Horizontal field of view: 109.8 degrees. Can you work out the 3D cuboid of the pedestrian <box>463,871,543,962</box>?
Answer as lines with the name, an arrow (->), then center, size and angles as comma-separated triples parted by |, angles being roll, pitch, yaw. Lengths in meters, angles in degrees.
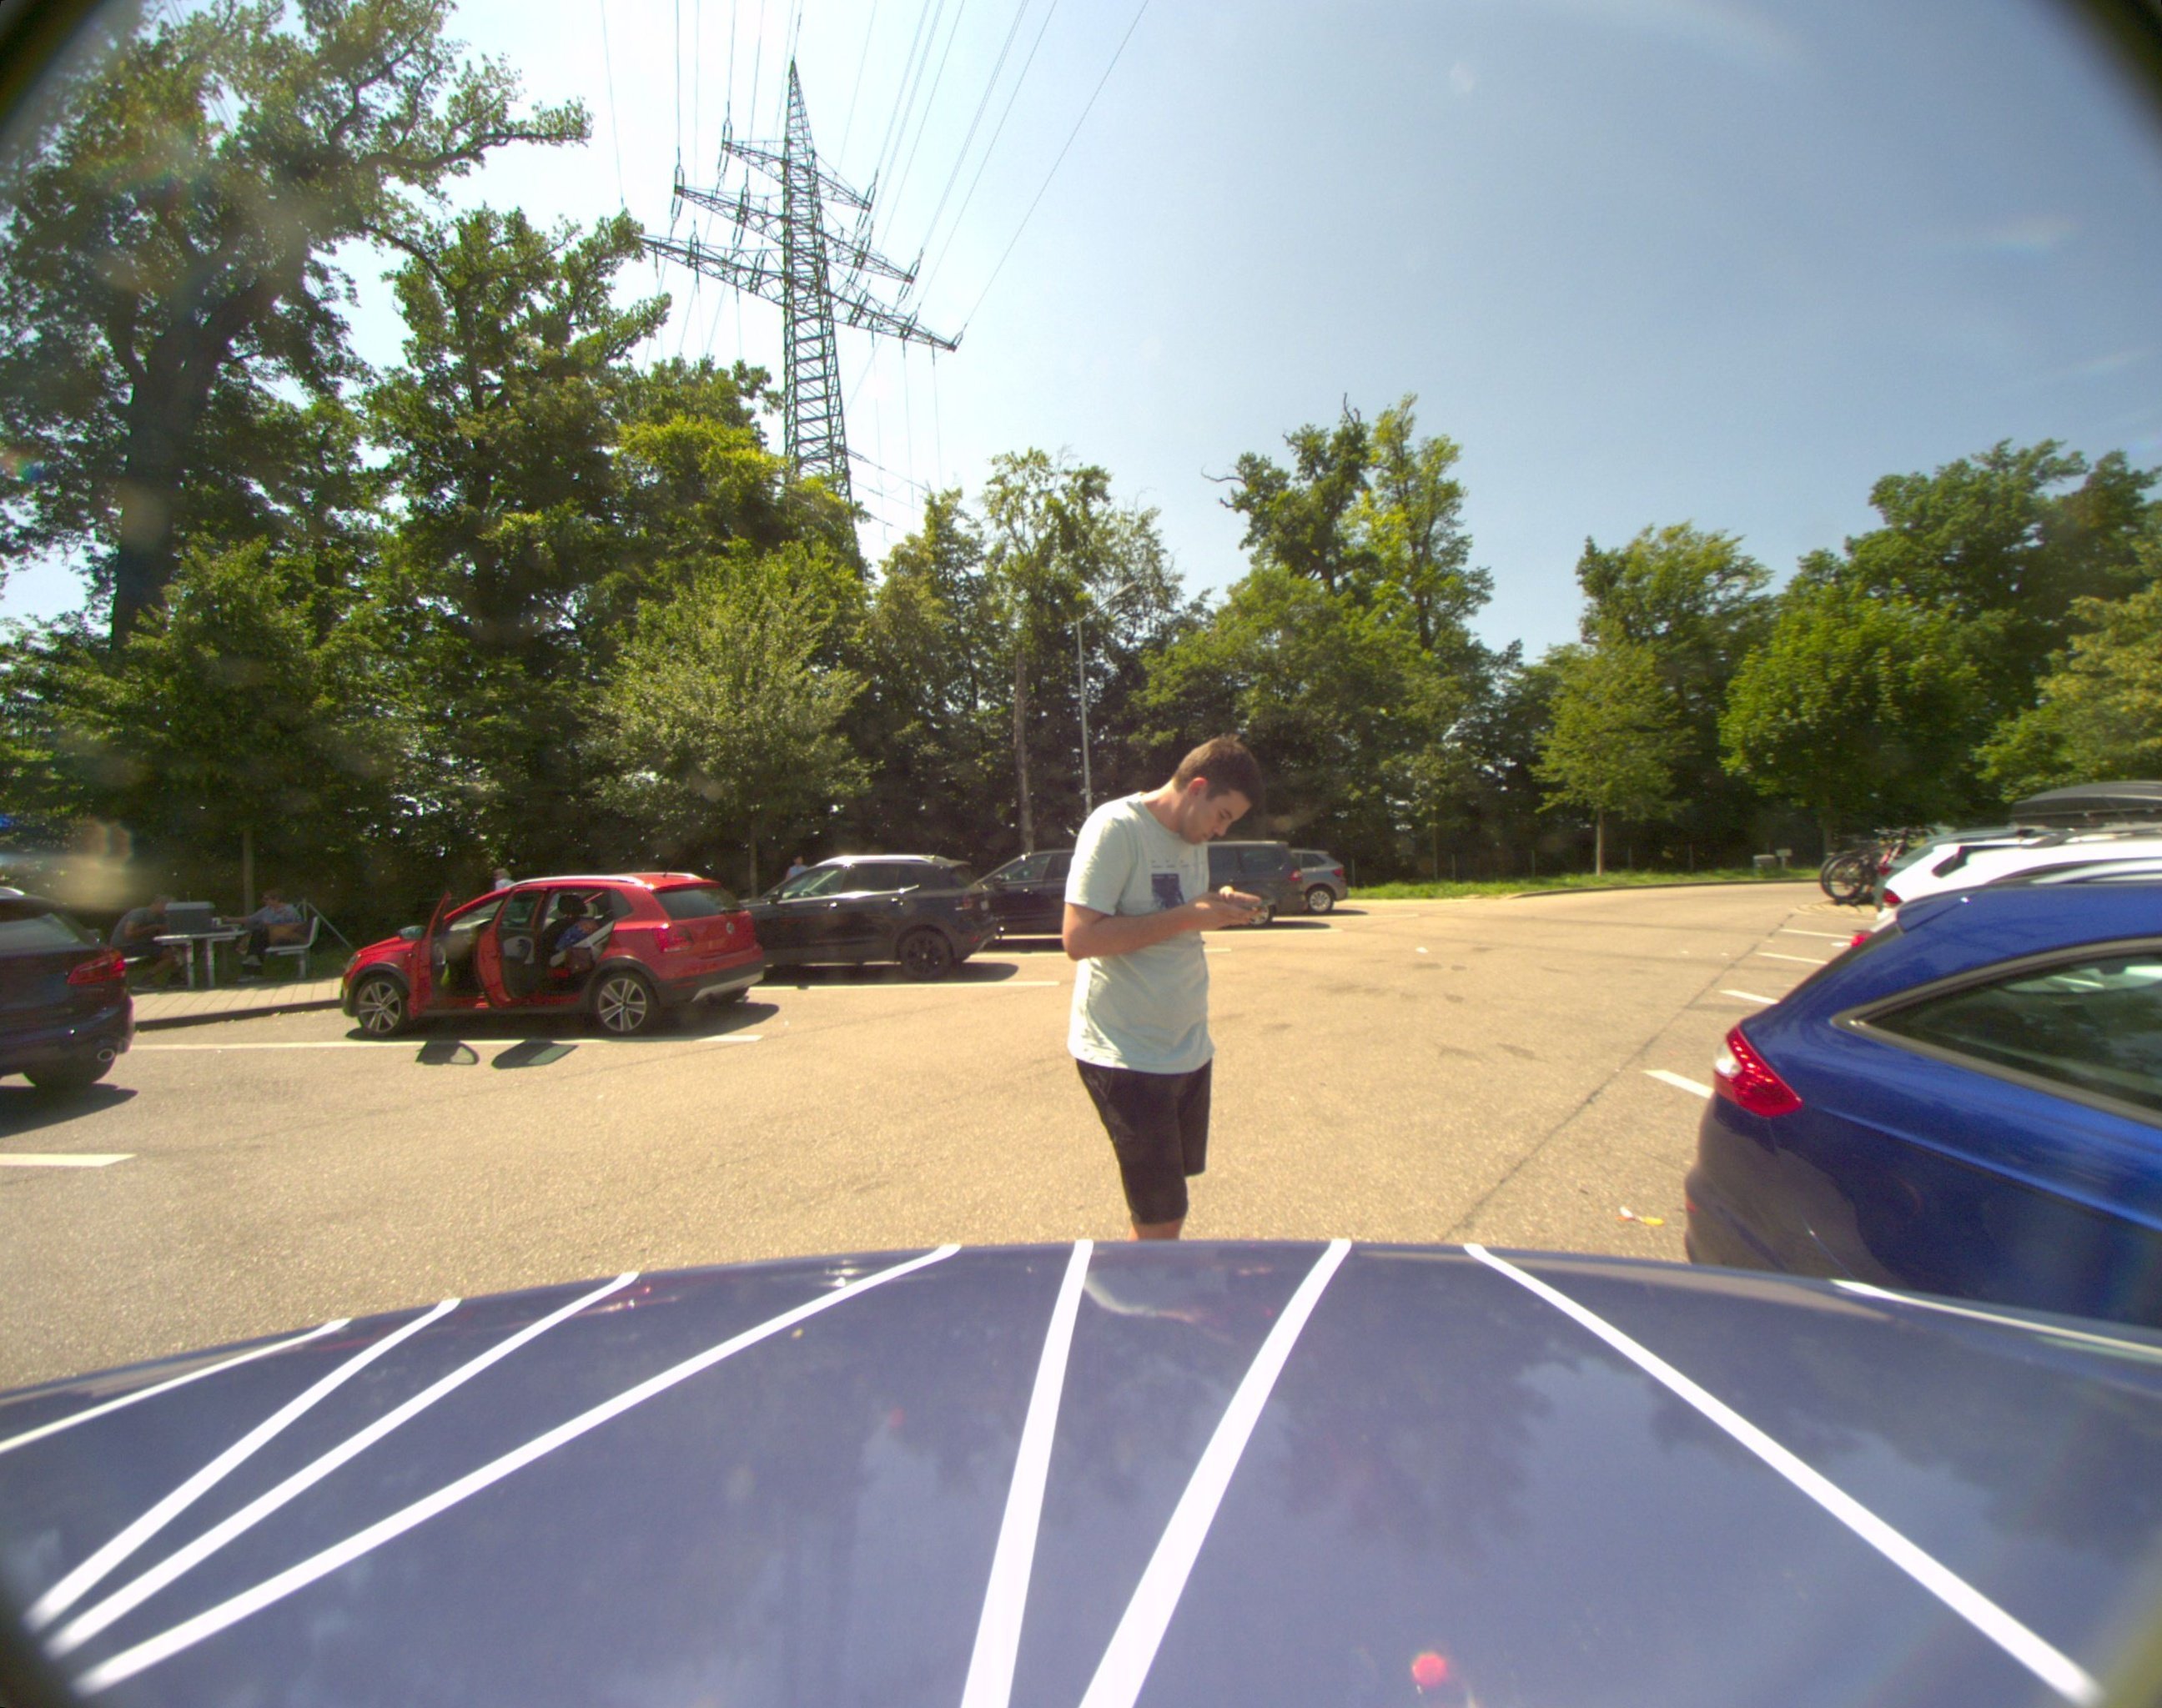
pedestrian -> -10.588, 1.128, 13.948 | 0.808, 1.584, 0.776 | -2, 0, 10

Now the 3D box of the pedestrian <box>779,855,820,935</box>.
pedestrian -> -5.821, 0.833, 15.716 | 0.716, 1.584, 0.808 | -2, 0, -21

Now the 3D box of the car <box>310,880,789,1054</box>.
car -> -5.195, 1.072, 7.720 | 3.704, 1.448, 1.781 | -2, 0, 7

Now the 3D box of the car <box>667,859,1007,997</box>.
car -> -3.148, 0.938, 10.380 | 3.966, 1.582, 1.841 | -2, 0, 3

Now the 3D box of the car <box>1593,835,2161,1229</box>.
car -> 4.904, 0.656, 3.667 | 1.779, 1.456, 4.470 | -2, -1, 0

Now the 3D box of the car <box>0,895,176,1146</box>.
car -> -8.920, 1.157, 5.003 | 4.011, 1.558, 1.846 | -2, 0, 6

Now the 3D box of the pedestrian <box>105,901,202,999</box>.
pedestrian -> -12.830, 1.299, 10.517 | 0.652, 1.262, 0.672 | -2, 0, 24

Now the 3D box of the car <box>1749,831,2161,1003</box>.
car -> 10.061, 0.531, 8.158 | 1.779, 1.456, 4.470 | -2, -1, 0

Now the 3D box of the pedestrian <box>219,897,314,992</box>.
pedestrian -> -11.837, 1.296, 11.052 | 0.828, 1.287, 0.672 | -2, 0, 24

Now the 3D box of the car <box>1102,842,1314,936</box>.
car -> 2.507, 0.696, 15.450 | 3.964, 1.678, 1.781 | -2, 0, 7

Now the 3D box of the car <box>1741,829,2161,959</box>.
car -> 12.363, 0.475, 10.942 | 1.779, 1.456, 4.470 | -2, -1, 0

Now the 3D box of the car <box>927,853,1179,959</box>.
car -> -0.379, 0.841, 12.966 | 3.964, 1.582, 1.781 | -2, 0, 8

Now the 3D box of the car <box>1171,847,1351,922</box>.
car -> 4.177, 0.712, 18.203 | 3.964, 1.577, 1.781 | -2, 0, 7

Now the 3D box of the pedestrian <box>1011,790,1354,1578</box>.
pedestrian -> 0.225, 0.726, 1.949 | 0.687, 1.699, 0.578 | -2, 0, 1
